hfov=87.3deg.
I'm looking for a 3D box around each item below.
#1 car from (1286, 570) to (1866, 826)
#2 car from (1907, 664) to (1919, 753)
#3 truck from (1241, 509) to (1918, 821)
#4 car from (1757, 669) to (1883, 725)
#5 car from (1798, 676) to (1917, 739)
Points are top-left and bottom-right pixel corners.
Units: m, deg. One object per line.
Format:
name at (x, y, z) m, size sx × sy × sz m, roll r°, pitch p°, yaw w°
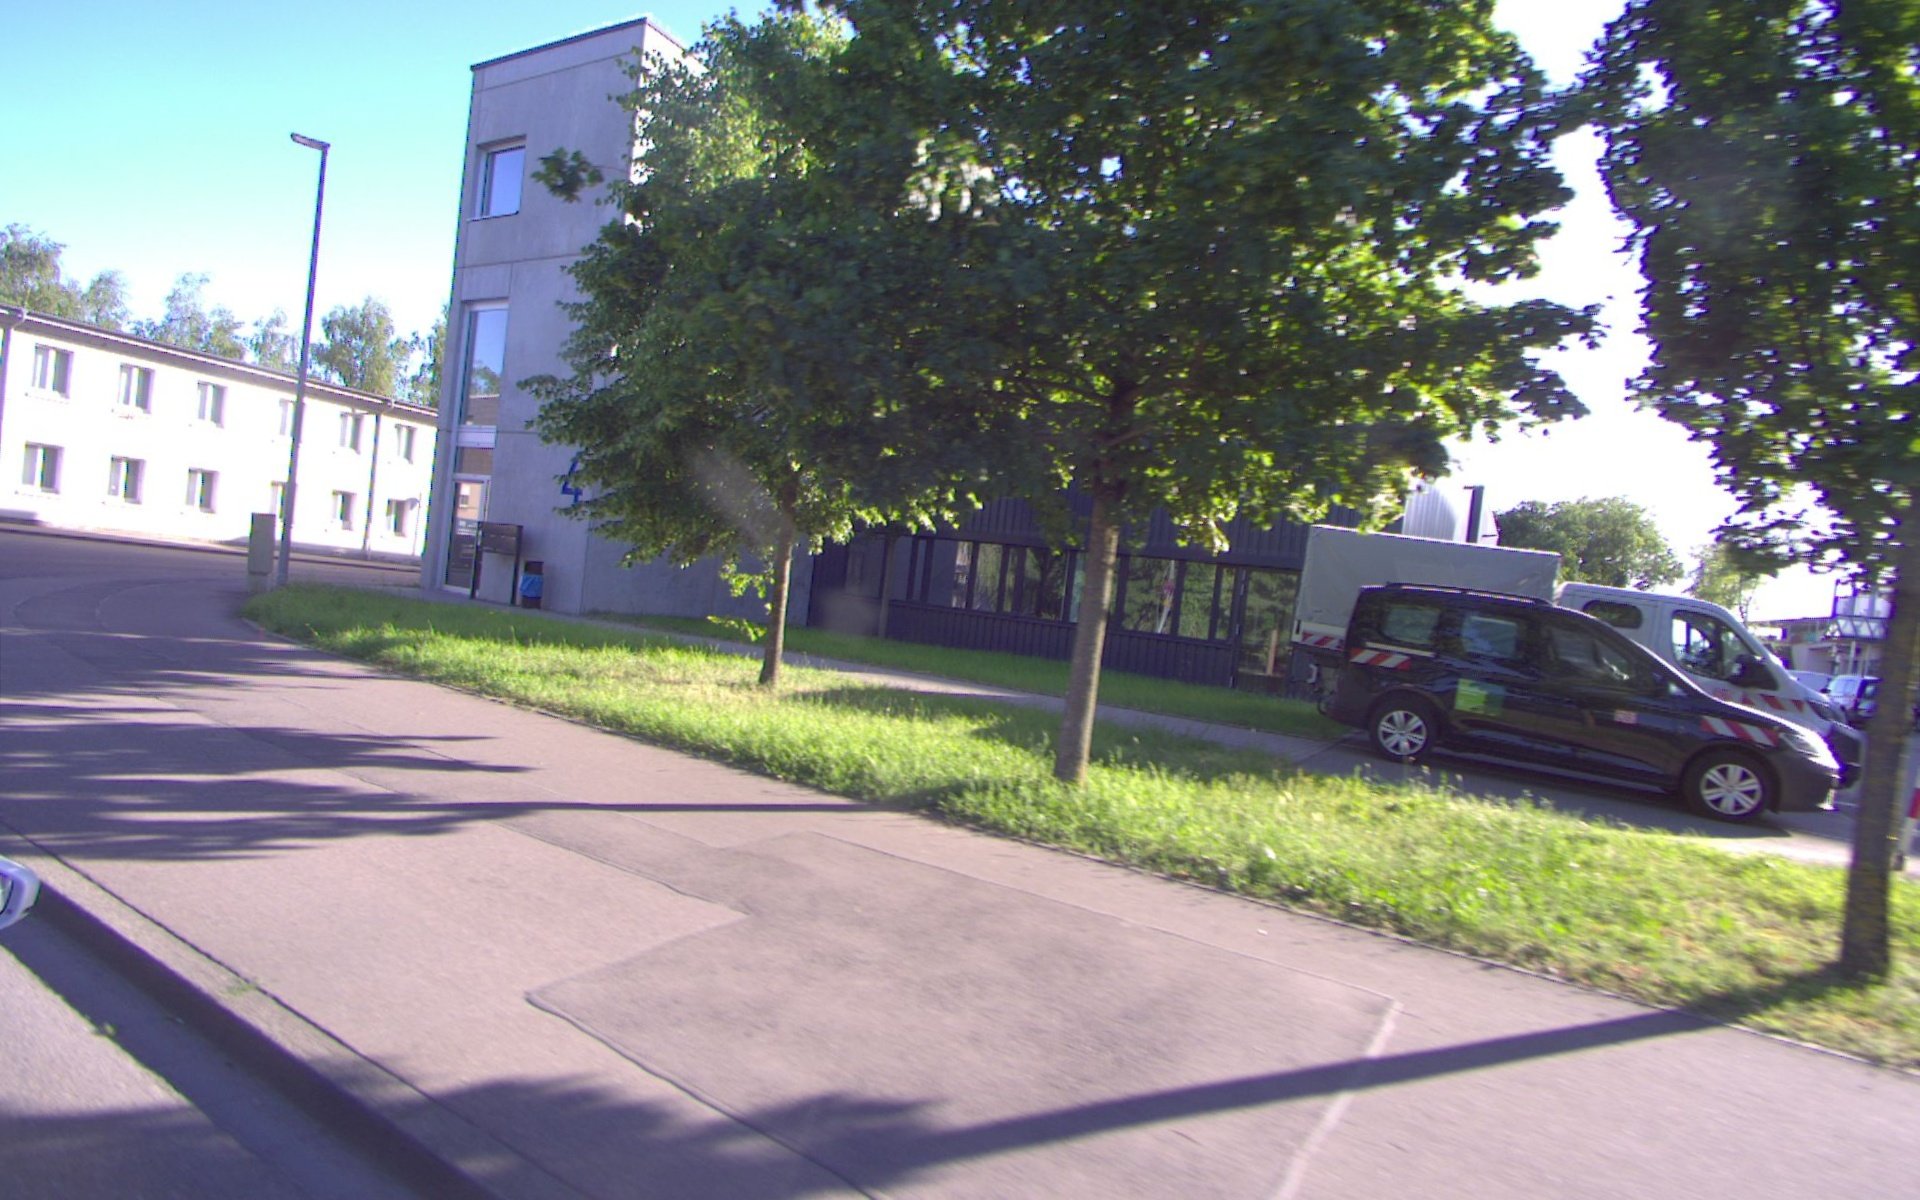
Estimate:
car at (5.966, 0.900, 10.395) m, size 4.584 × 1.834 × 1.841 m, roll 6°, pitch -3°, yaw 27°
car at (25.512, 2.806, 23.892) m, size 3.934 × 2.213 × 1.905 m, roll 5°, pitch -3°, yaw 31°
truck at (7.395, 0.667, 13.028) m, size 6.631 × 2.869 × 2.367 m, roll 7°, pitch -2°, yaw 27°
car at (38.863, 4.380, 45.601) m, size 3.935 × 1.982 × 1.998 m, roll 5°, pitch -3°, yaw 32°
car at (30.989, 3.717, 34.872) m, size 1.757 × 1.842 × 4.003 m, roll 6°, pitch -3°, yaw 24°
